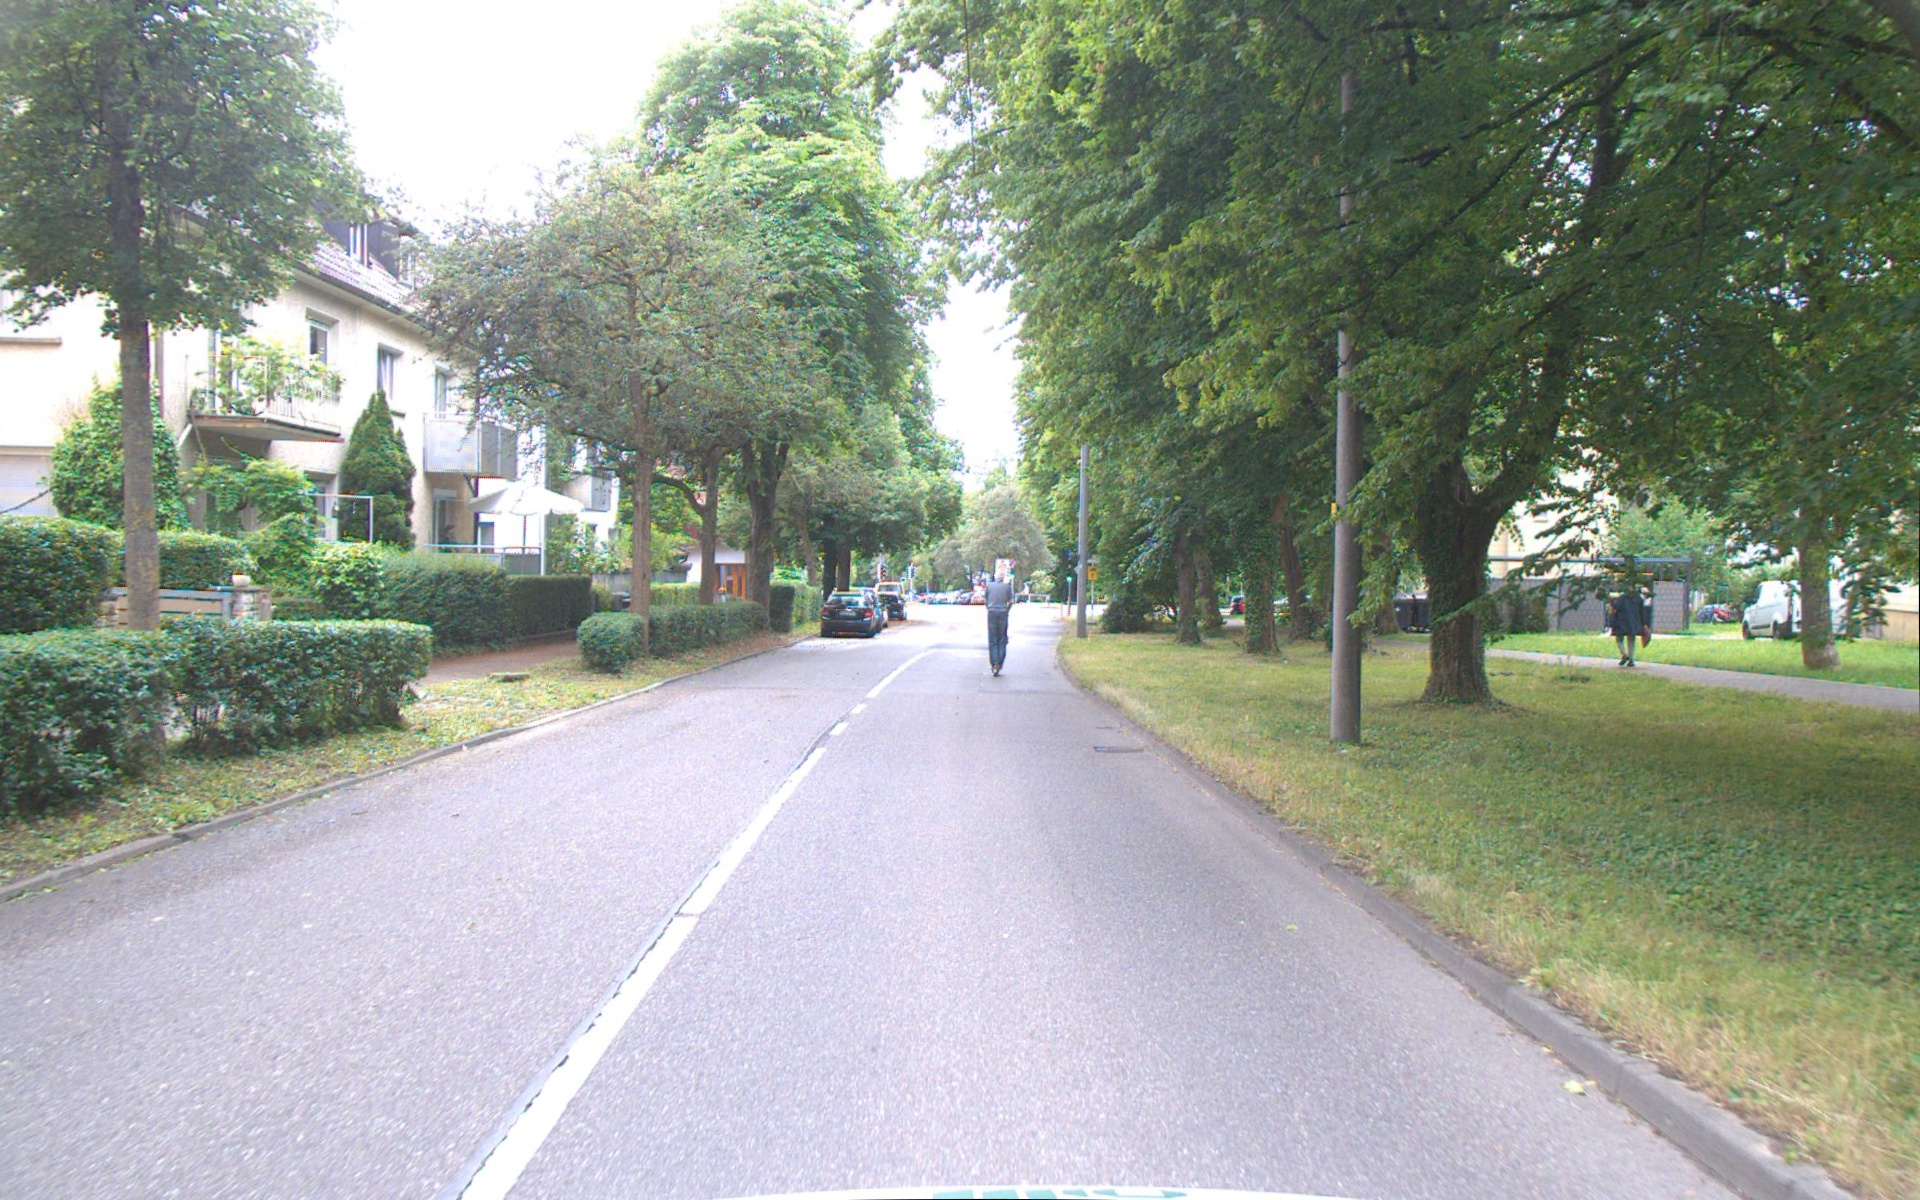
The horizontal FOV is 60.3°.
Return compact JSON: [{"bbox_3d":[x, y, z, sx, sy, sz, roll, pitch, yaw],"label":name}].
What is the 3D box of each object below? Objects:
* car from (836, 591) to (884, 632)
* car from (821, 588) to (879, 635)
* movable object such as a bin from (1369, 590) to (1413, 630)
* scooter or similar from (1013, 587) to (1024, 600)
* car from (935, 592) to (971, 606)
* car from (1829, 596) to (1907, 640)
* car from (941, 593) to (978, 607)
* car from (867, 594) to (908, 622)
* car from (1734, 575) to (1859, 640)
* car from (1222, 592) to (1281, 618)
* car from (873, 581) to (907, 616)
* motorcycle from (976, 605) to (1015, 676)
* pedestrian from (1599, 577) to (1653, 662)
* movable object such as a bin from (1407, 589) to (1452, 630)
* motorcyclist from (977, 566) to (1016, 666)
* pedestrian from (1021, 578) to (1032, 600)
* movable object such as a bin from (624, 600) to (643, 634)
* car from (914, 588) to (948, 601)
[{"bbox_3d":[-3.574,0.395,59.507,1.631,1.416,3.705,0,0,-2],"label":"car"},{"bbox_3d":[-3.607,0.345,54.718,1.758,1.498,4.416,0,0,-2],"label":"car"},{"bbox_3d":[16.440,0.371,63.158,1.300,1.527,1.314,0,0,-2],"label":"movable object such as a bin"},{"bbox_3d":[4.703,-0.503,133.908,0.695,1.067,0.787,0,0,20],"label":"scooter or similar"},{"bbox_3d":[-0.746,-0.081,179.267,3.907,1.537,1.799,0,0,-2],"label":"car"},{"bbox_3d":[33.259,0.662,60.675,1.756,1.537,4.001,-1,-1,18],"label":"car"},{"bbox_3d":[-0.039,-0.034,177.367,3.907,1.537,1.799,0,0,-2],"label":"car"},{"bbox_3d":[-3.737,0.407,85.621,1.853,1.435,4.554,0,0,1],"label":"car"},{"bbox_3d":[25.975,0.196,51.562,2.041,1.875,4.972,0,1,9],"label":"car"},{"bbox_3d":[20.276,0.353,115.116,3.902,1.584,1.802,2,3,13],"label":"car"},{"bbox_3d":[-4.112,-0.063,96.403,1.821,1.998,4.500,0,0,-5],"label":"car"},{"bbox_3d":[0.663,0.727,30.307,0.659,1.239,1.274,2,0,2],"label":"motorcycle"},{"bbox_3d":[13.616,0.389,33.839,0.752,1.716,0.814,0,0,-1],"label":"pedestrian"},{"bbox_3d":[17.937,0.352,63.241,1.300,1.527,1.314,0,0,-2],"label":"movable object such as a bin"},{"bbox_3d":[0.681,0.289,30.547,0.659,1.792,0.639,2,0,2],"label":"motorcyclist"},{"bbox_3d":[5.394,-0.860,133.644,0.717,1.792,0.662,0,0,20],"label":"pedestrian"},{"bbox_3d":[-9.037,0.460,45.802,0.447,0.931,0.508,0,0,-6],"label":"movable object such as a bin"},{"bbox_3d":[-3.419,-0.648,193.970,3.907,1.537,1.799,0,0,-2],"label":"car"}]
